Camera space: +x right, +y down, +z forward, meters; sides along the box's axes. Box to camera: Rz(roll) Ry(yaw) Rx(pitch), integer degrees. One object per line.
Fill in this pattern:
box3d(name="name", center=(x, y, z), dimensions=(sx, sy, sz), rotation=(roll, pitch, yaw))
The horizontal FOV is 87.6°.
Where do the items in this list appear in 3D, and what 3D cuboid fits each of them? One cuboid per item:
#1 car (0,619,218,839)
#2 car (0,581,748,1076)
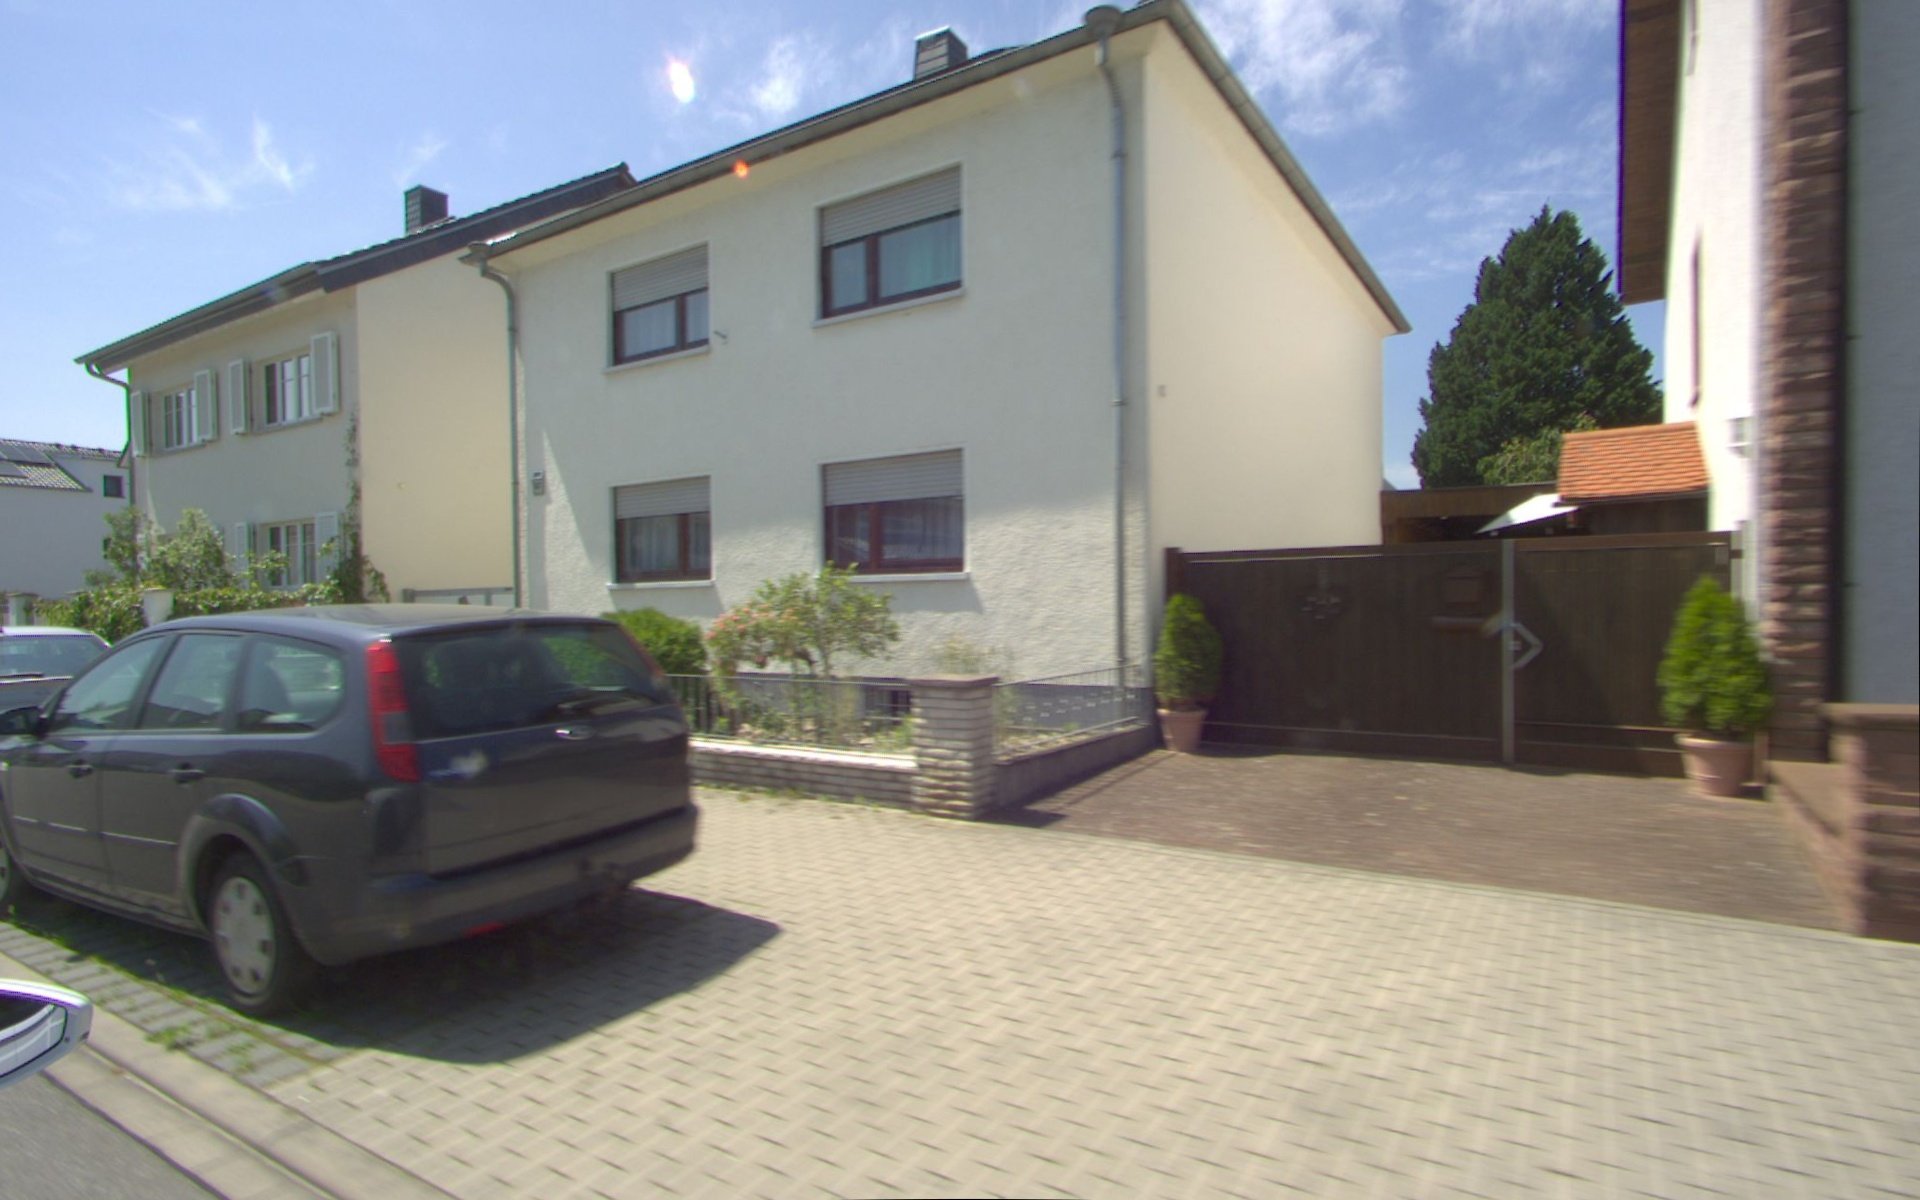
box3d(name="car", center=(-7.871, 0.886, 8.028), dimensions=(4.035, 1.439, 1.810), rotation=(-1, 0, 33))
box3d(name="car", center=(-3.308, 0.747, 5.007), dimensions=(4.383, 1.553, 1.739), rotation=(-1, 0, 31))
